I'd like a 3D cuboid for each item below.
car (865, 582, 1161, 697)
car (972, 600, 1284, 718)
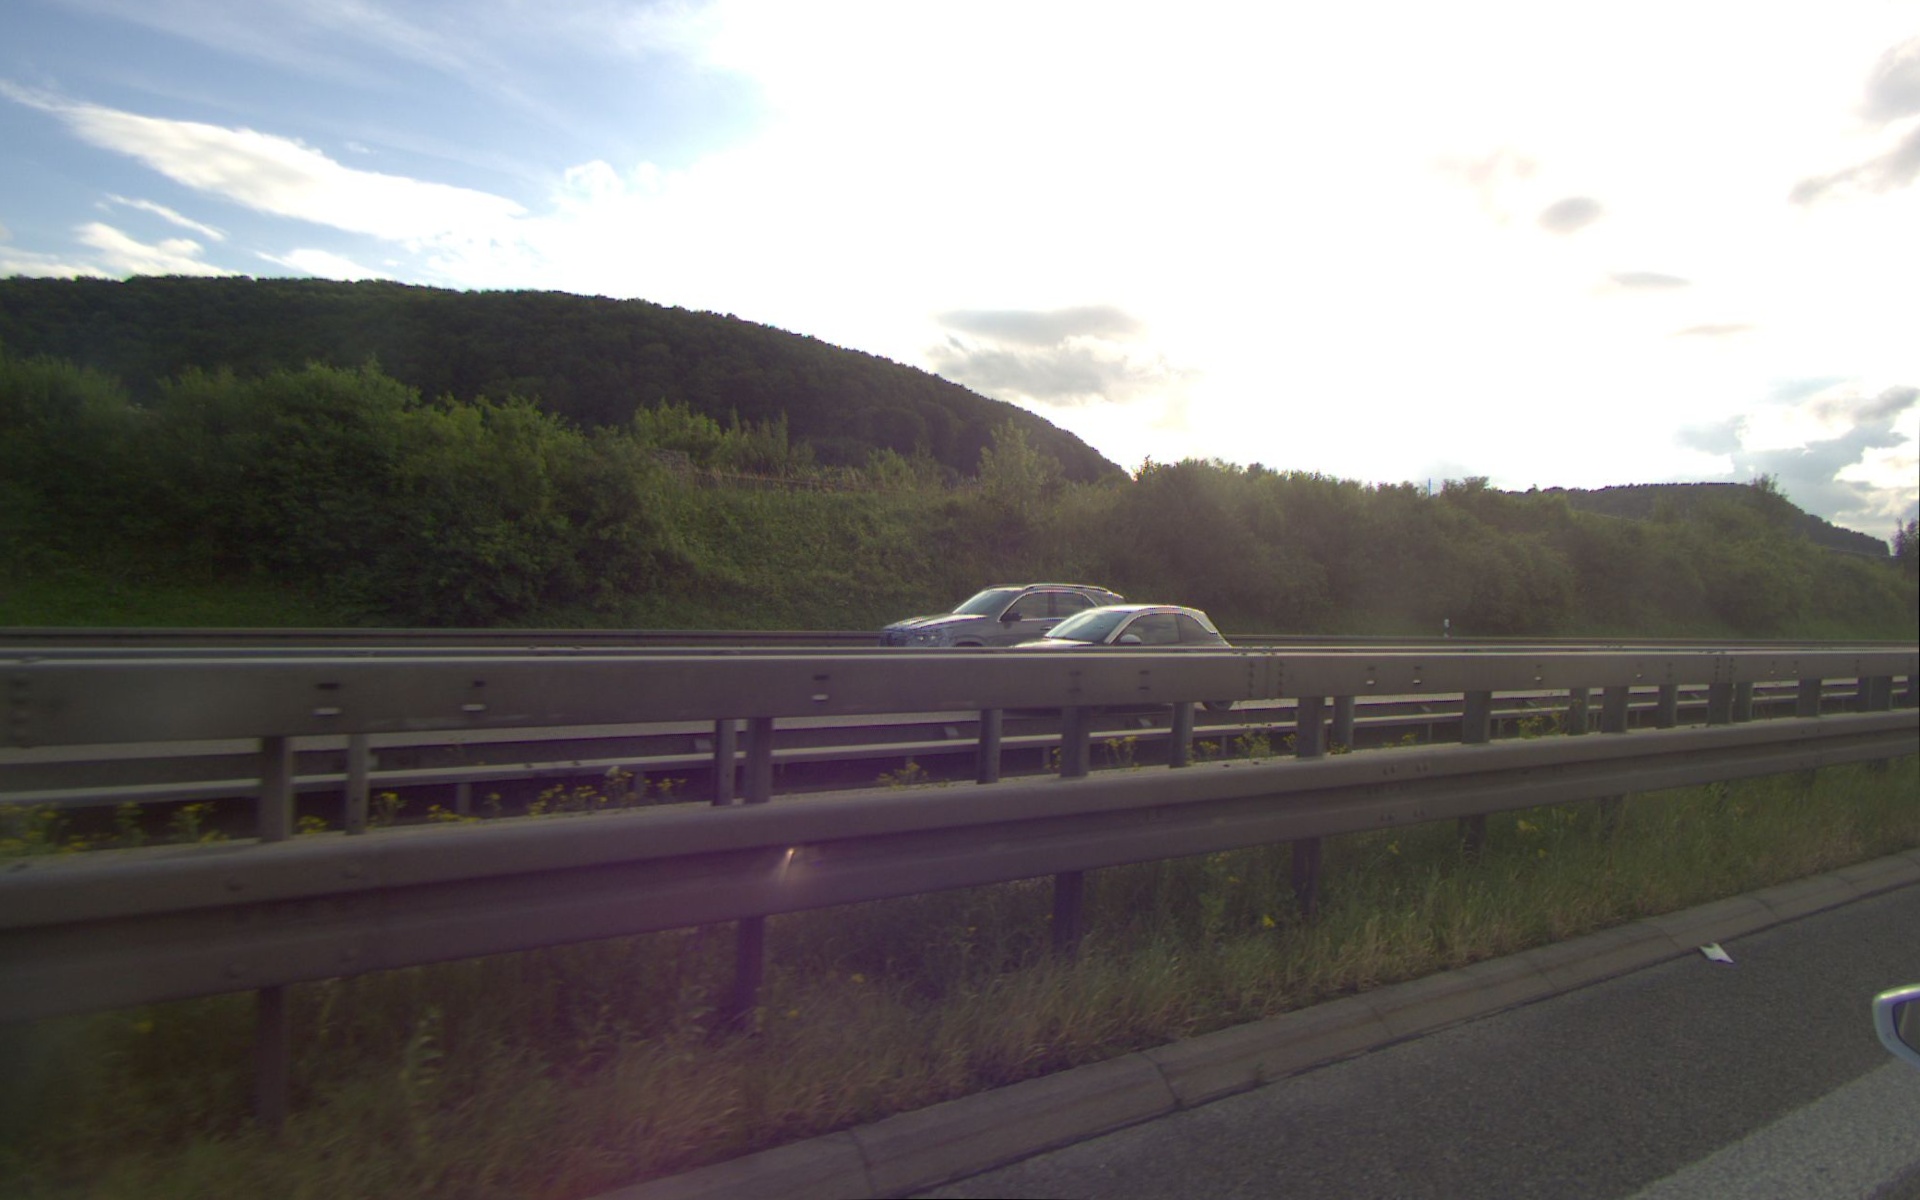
[{"bbox_3d":[0.967,0.640,17.261,4.821,1.745,1.920,1,0,-30],"label":"car"},{"bbox_3d":[2.430,0.778,14.195,4.293,1.455,1.635,1,0,-30],"label":"car"}]
